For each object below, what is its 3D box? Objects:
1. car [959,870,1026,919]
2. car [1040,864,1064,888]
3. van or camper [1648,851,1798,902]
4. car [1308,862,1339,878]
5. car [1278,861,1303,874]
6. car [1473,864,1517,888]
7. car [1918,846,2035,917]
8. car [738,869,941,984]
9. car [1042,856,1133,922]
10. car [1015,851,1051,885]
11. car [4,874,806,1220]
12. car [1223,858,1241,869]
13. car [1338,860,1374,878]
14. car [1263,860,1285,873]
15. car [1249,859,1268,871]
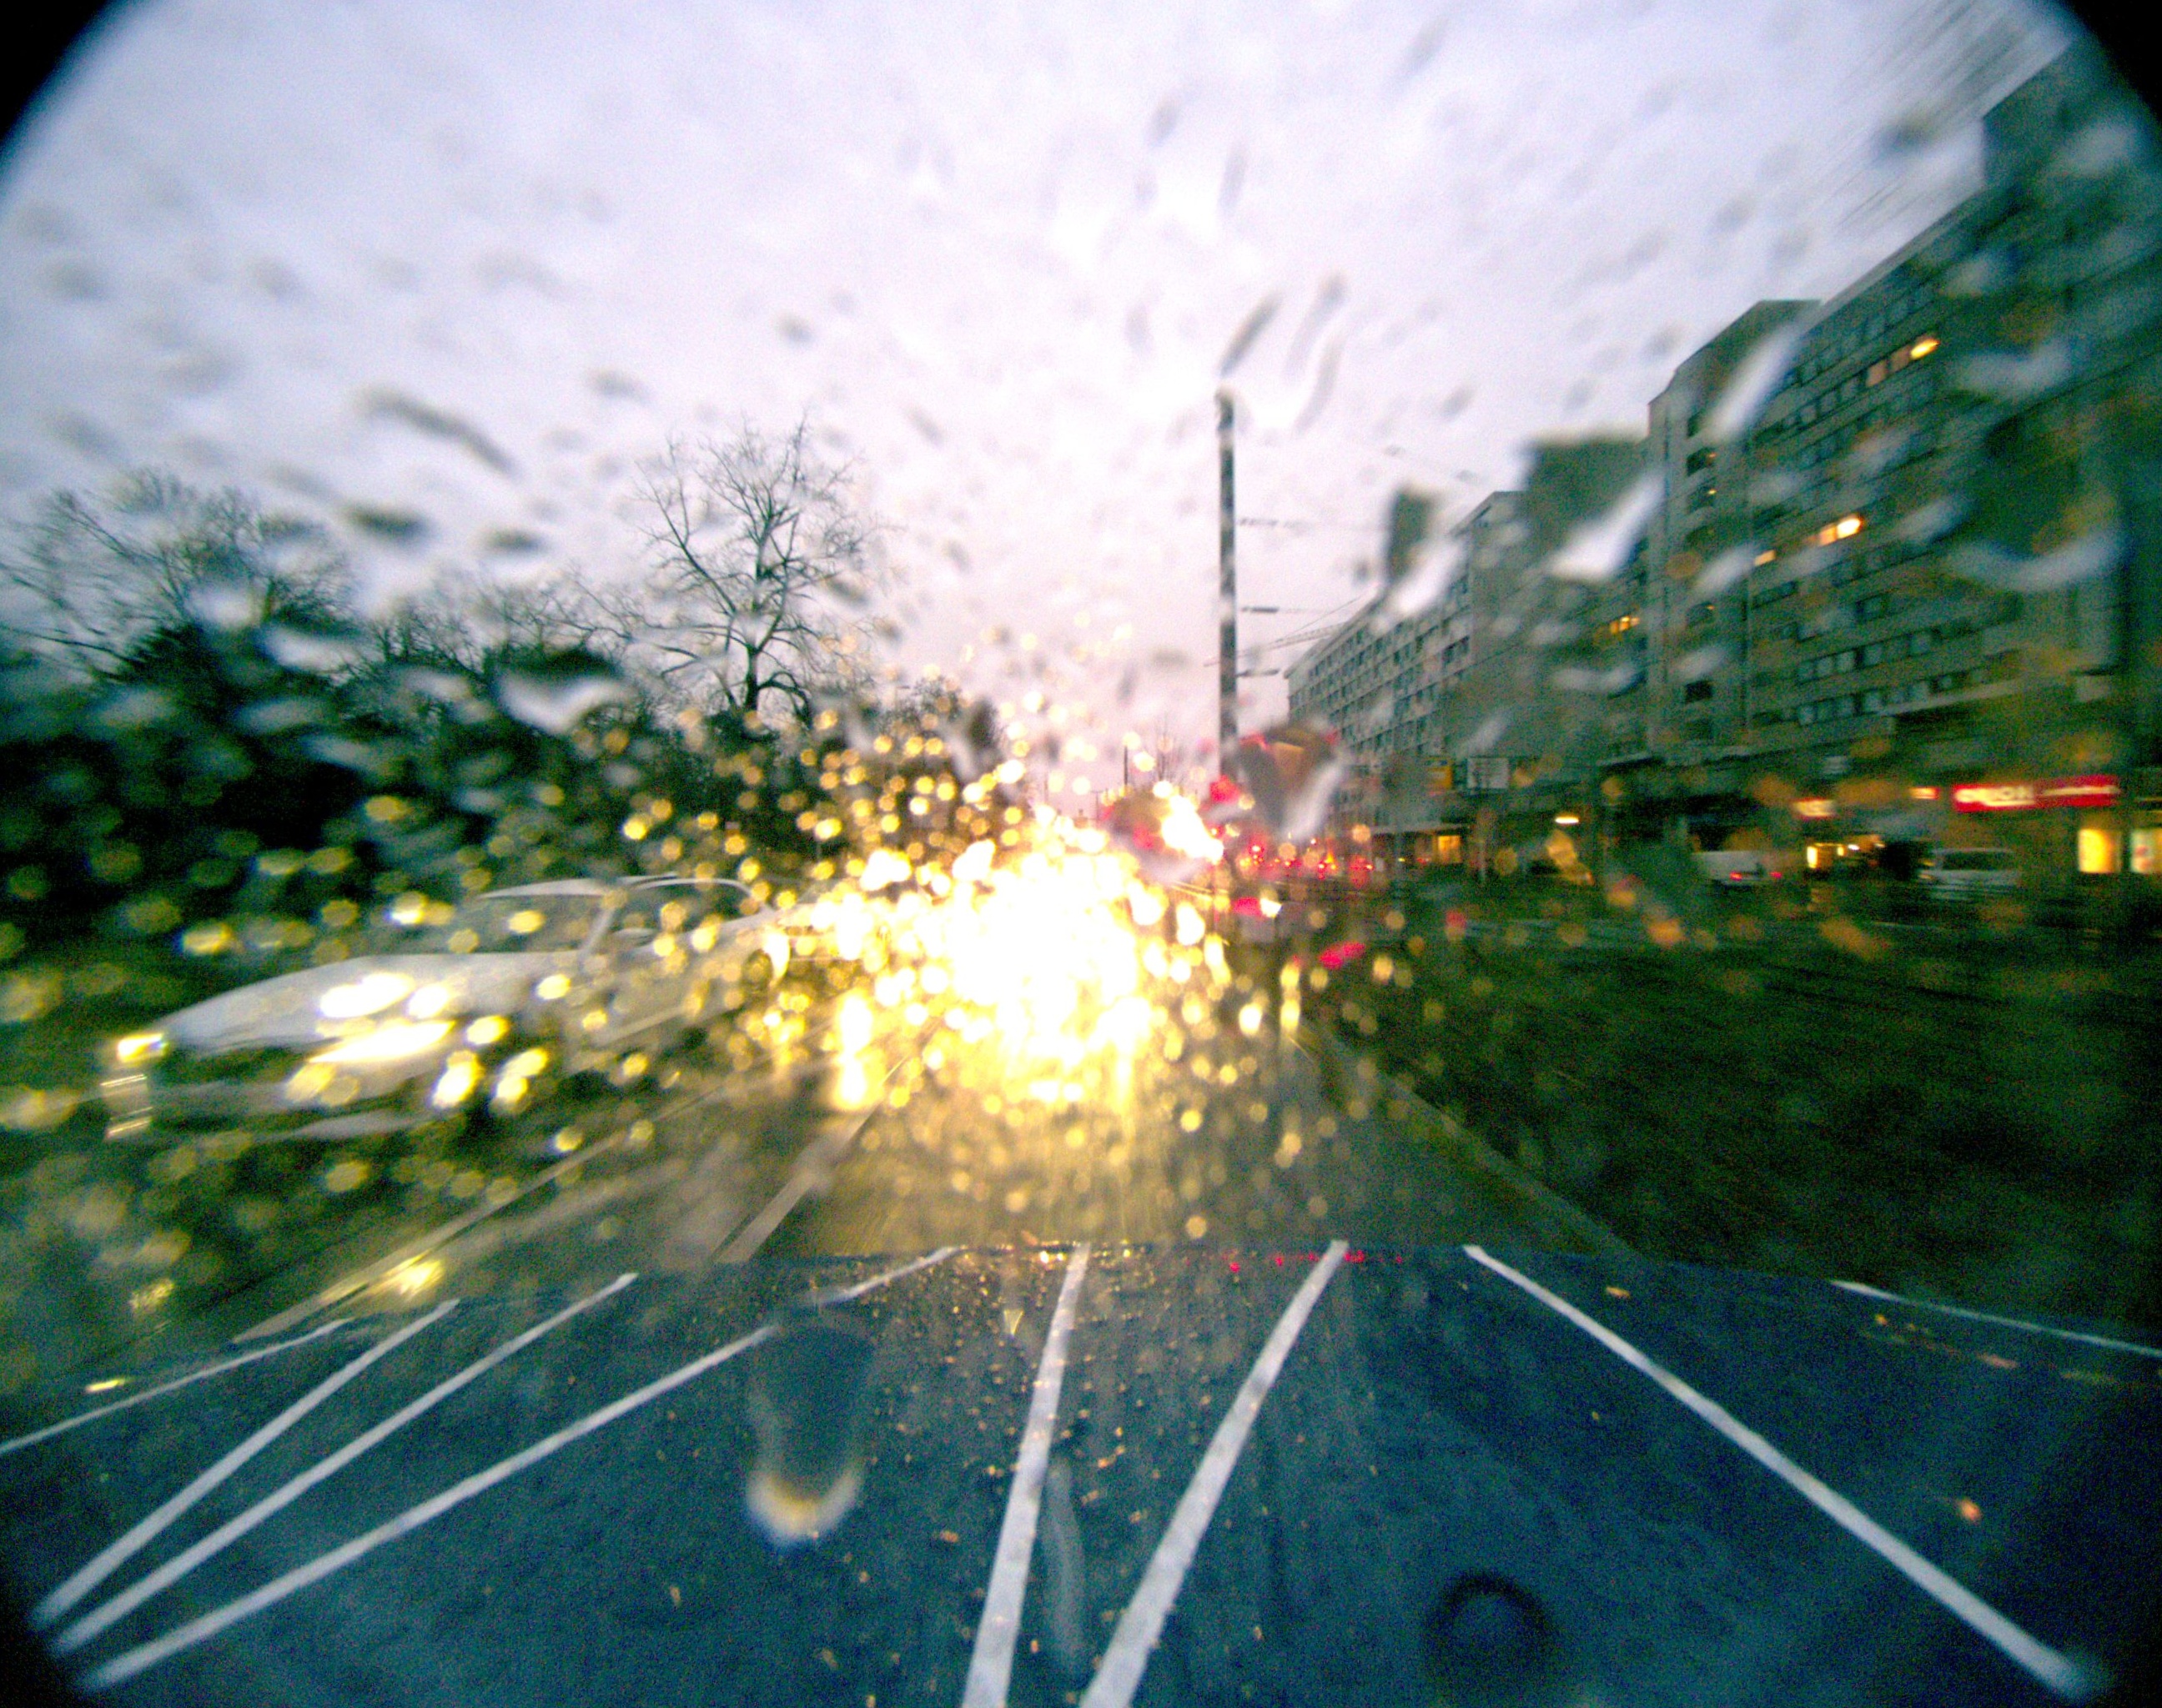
[{"bbox_3d":[-3.089,1.389,27.273,1.881,1.489,4.077,-1,1,0],"label":"car"},{"bbox_3d":[-2.220,1.672,58.310,1.679,1.670,3.864,-1,0,0],"label":"car"},{"bbox_3d":[28.625,0.946,34.196,1.998,2.085,5.654,-1,0,0],"label":"van or camper"},{"bbox_3d":[23.905,1.563,74.909,1.754,1.503,3.890,-1,0,-1],"label":"car"},{"bbox_3d":[23.631,1.511,85.907,1.754,1.440,3.872,-1,0,-1],"label":"car"},{"bbox_3d":[29.702,1.527,54.467,3.785,1.608,1.676,-1,1,-44],"label":"car"},{"bbox_3d":[29.655,0.840,25.326,1.994,2.002,4.581,-1,1,43],"label":"car"},{"bbox_3d":[-3.737,1.049,12.563,1.777,1.453,4.041,-1,1,4],"label":"car"},{"bbox_3d":[0.161,0.848,20.098,2.160,1.490,4.007,-1,1,0],"label":"car"},{"bbox_3d":[-2.563,0.722,41.400,1.679,1.739,3.864,-1,0,0],"label":"car"},{"bbox_3d":[-4.236,1.017,6.195,1.791,1.493,4.968,-1,0,5],"label":"car"},{"bbox_3d":[21.002,1.371,105.898,1.596,1.440,3.872,-1,0,-1],"label":"car"},{"bbox_3d":[23.586,1.268,65.390,1.677,1.440,3.766,-1,0,-1],"label":"car"},{"bbox_3d":[23.794,1.509,93.724,1.754,1.440,3.872,-1,0,-1],"label":"car"},{"bbox_3d":[23.874,1.451,102.438,1.596,1.440,3.872,-1,0,-1],"label":"car"}]
